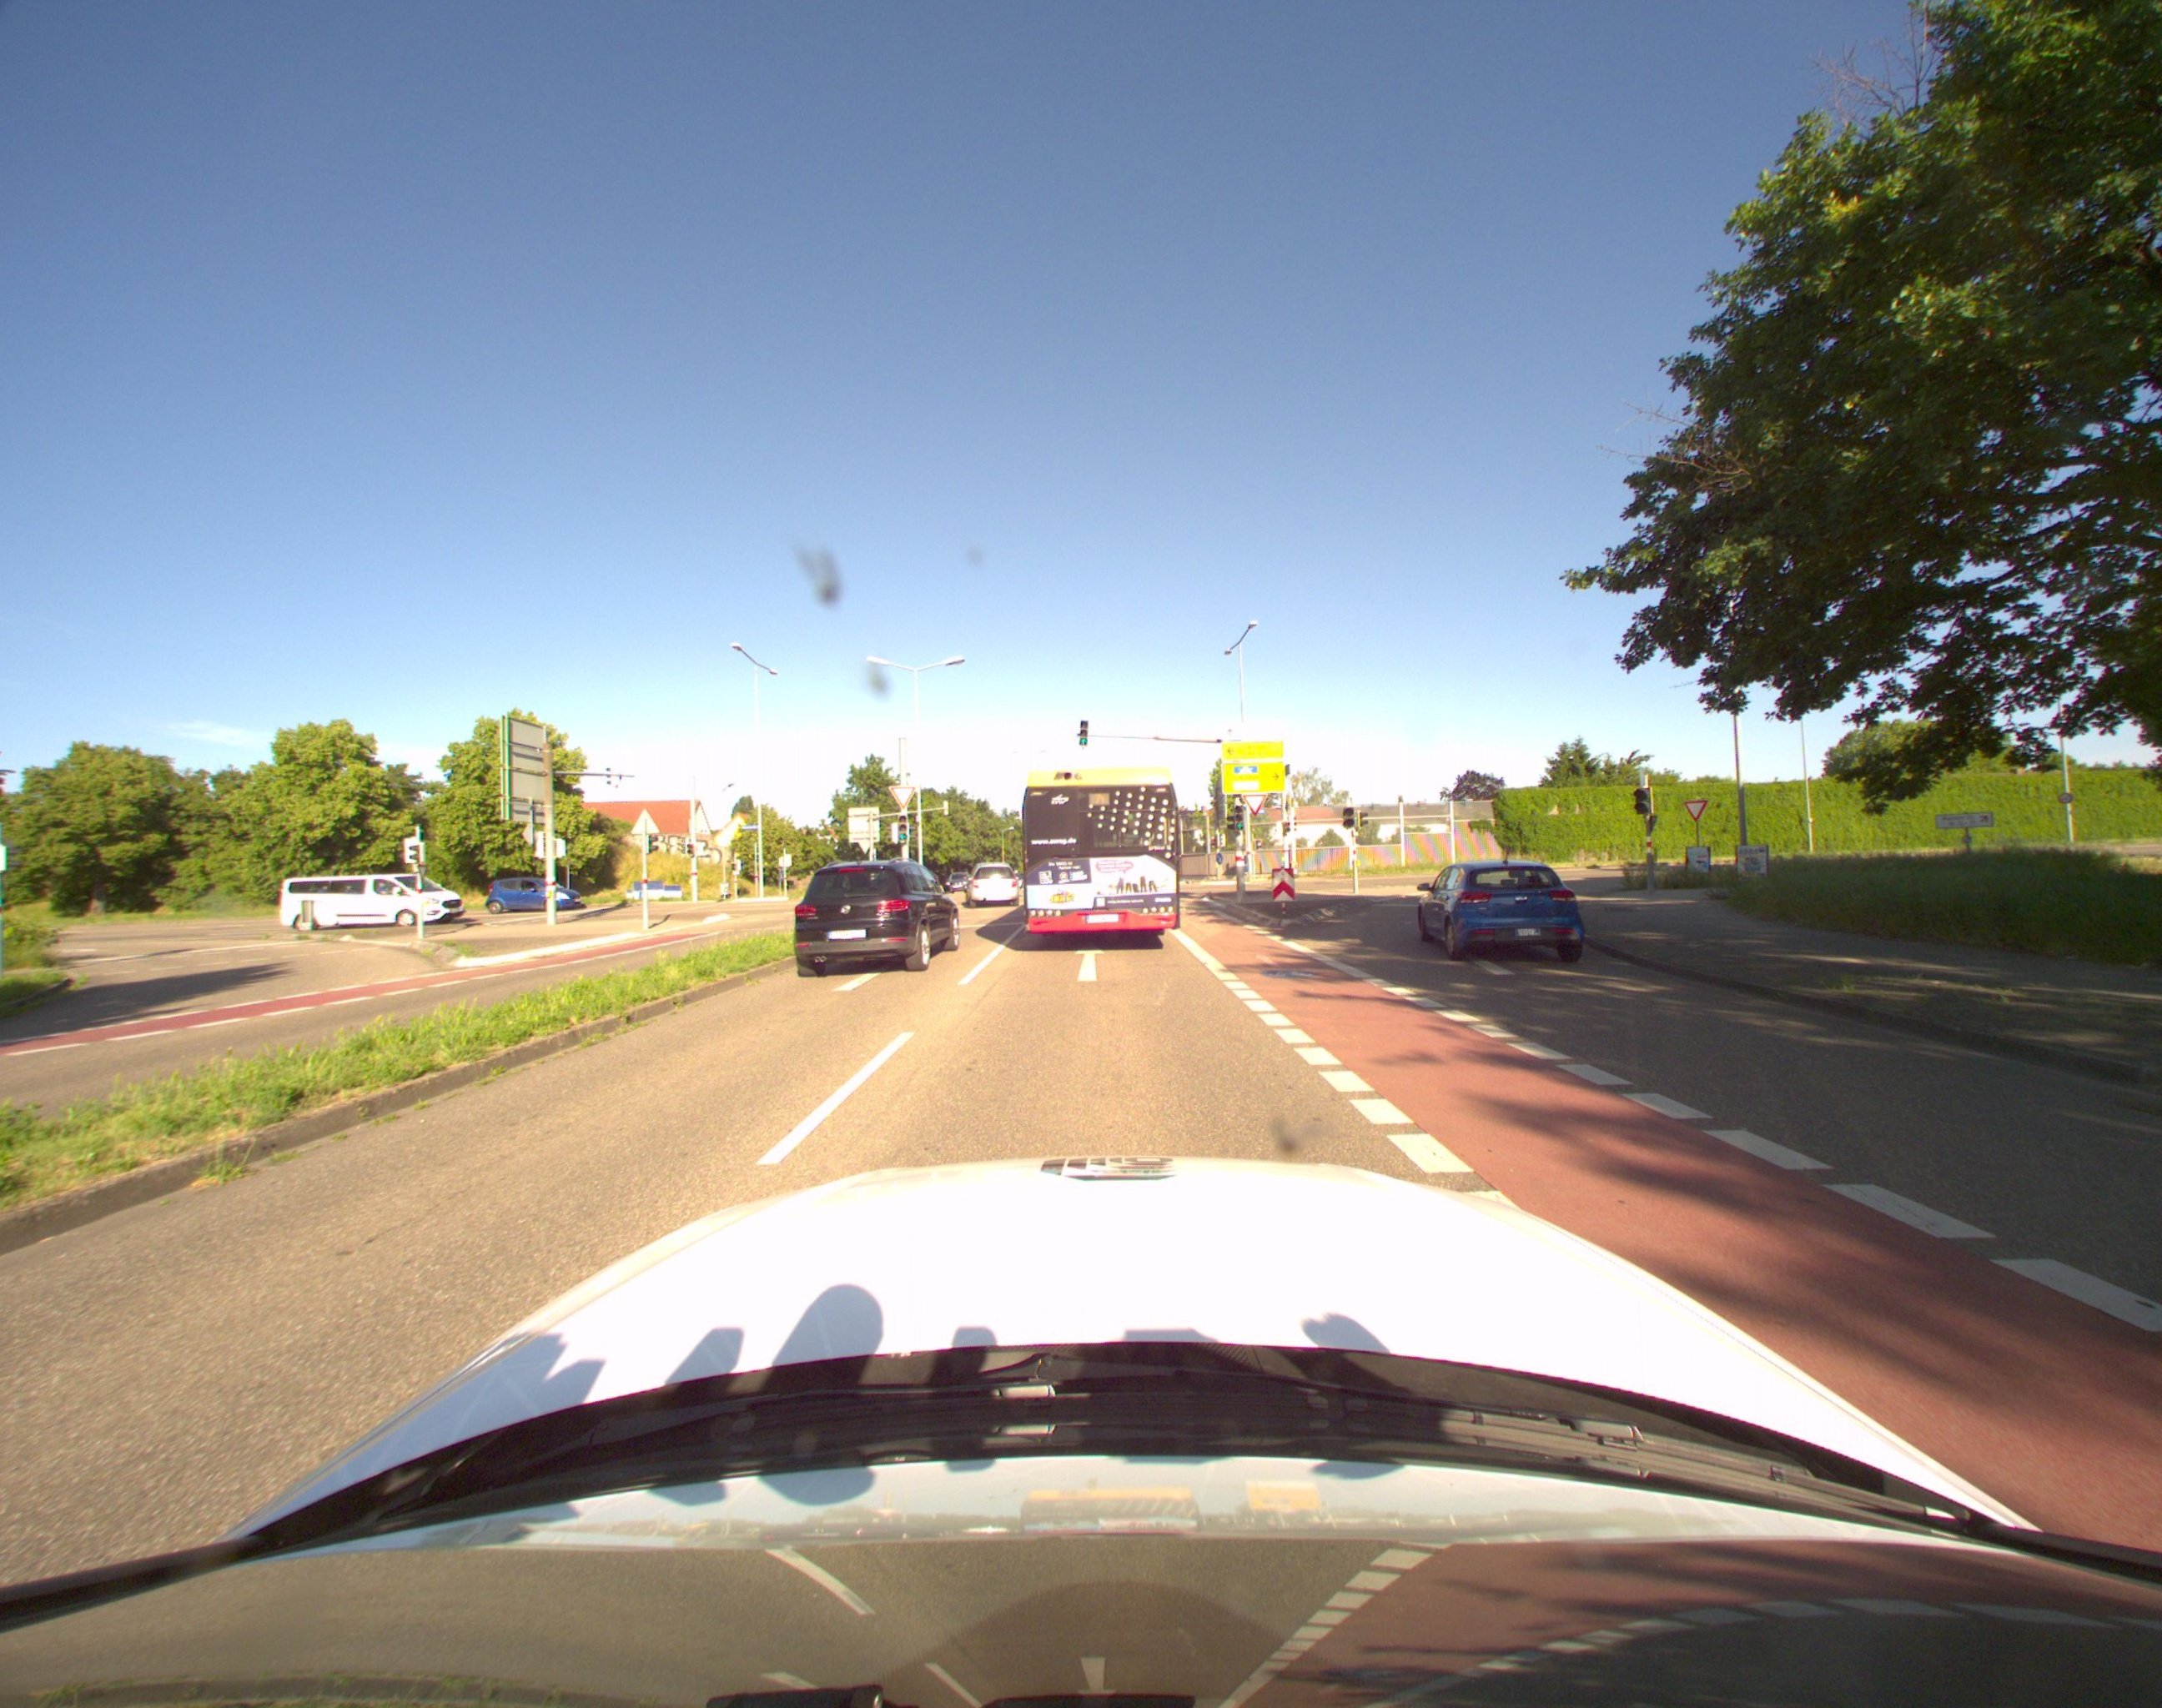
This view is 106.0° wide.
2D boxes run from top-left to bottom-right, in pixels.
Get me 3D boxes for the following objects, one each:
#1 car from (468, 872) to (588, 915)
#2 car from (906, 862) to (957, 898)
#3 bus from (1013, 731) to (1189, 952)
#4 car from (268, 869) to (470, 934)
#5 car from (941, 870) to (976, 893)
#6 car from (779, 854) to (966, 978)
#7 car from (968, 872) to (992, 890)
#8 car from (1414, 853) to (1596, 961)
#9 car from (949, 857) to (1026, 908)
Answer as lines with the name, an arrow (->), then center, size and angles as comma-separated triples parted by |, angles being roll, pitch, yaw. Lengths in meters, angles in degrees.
car -> -24.975, 1.768, 36.919 | 4.020, 1.644, 1.890 | -2, 1, -5
car -> -7.423, 1.255, 40.122 | 2.045, 1.616, 4.394 | -2, -1, -16
bus -> 0.335, -0.152, 18.982 | 2.748, 3.458, 12.396 | 0, 0, 0
car -> -25.797, 1.685, 29.690 | 5.250, 2.013, 2.044 | -2, 1, -5
car -> -9.548, 2.112, 63.843 | 1.987, 1.644, 4.528 | -3, -2, 0
car -> -3.119, 0.863, 13.077 | 1.820, 1.627, 4.001 | -2, -1, 2
car -> -8.823, 2.338, 71.301 | 1.640, 1.483, 3.712 | -2, -2, 0
car -> 6.482, 0.743, 12.889 | 1.719, 1.440, 3.808 | -2, -1, 15
car -> -3.571, 0.991, 30.280 | 2.046, 1.616, 4.393 | -2, 1, -17
